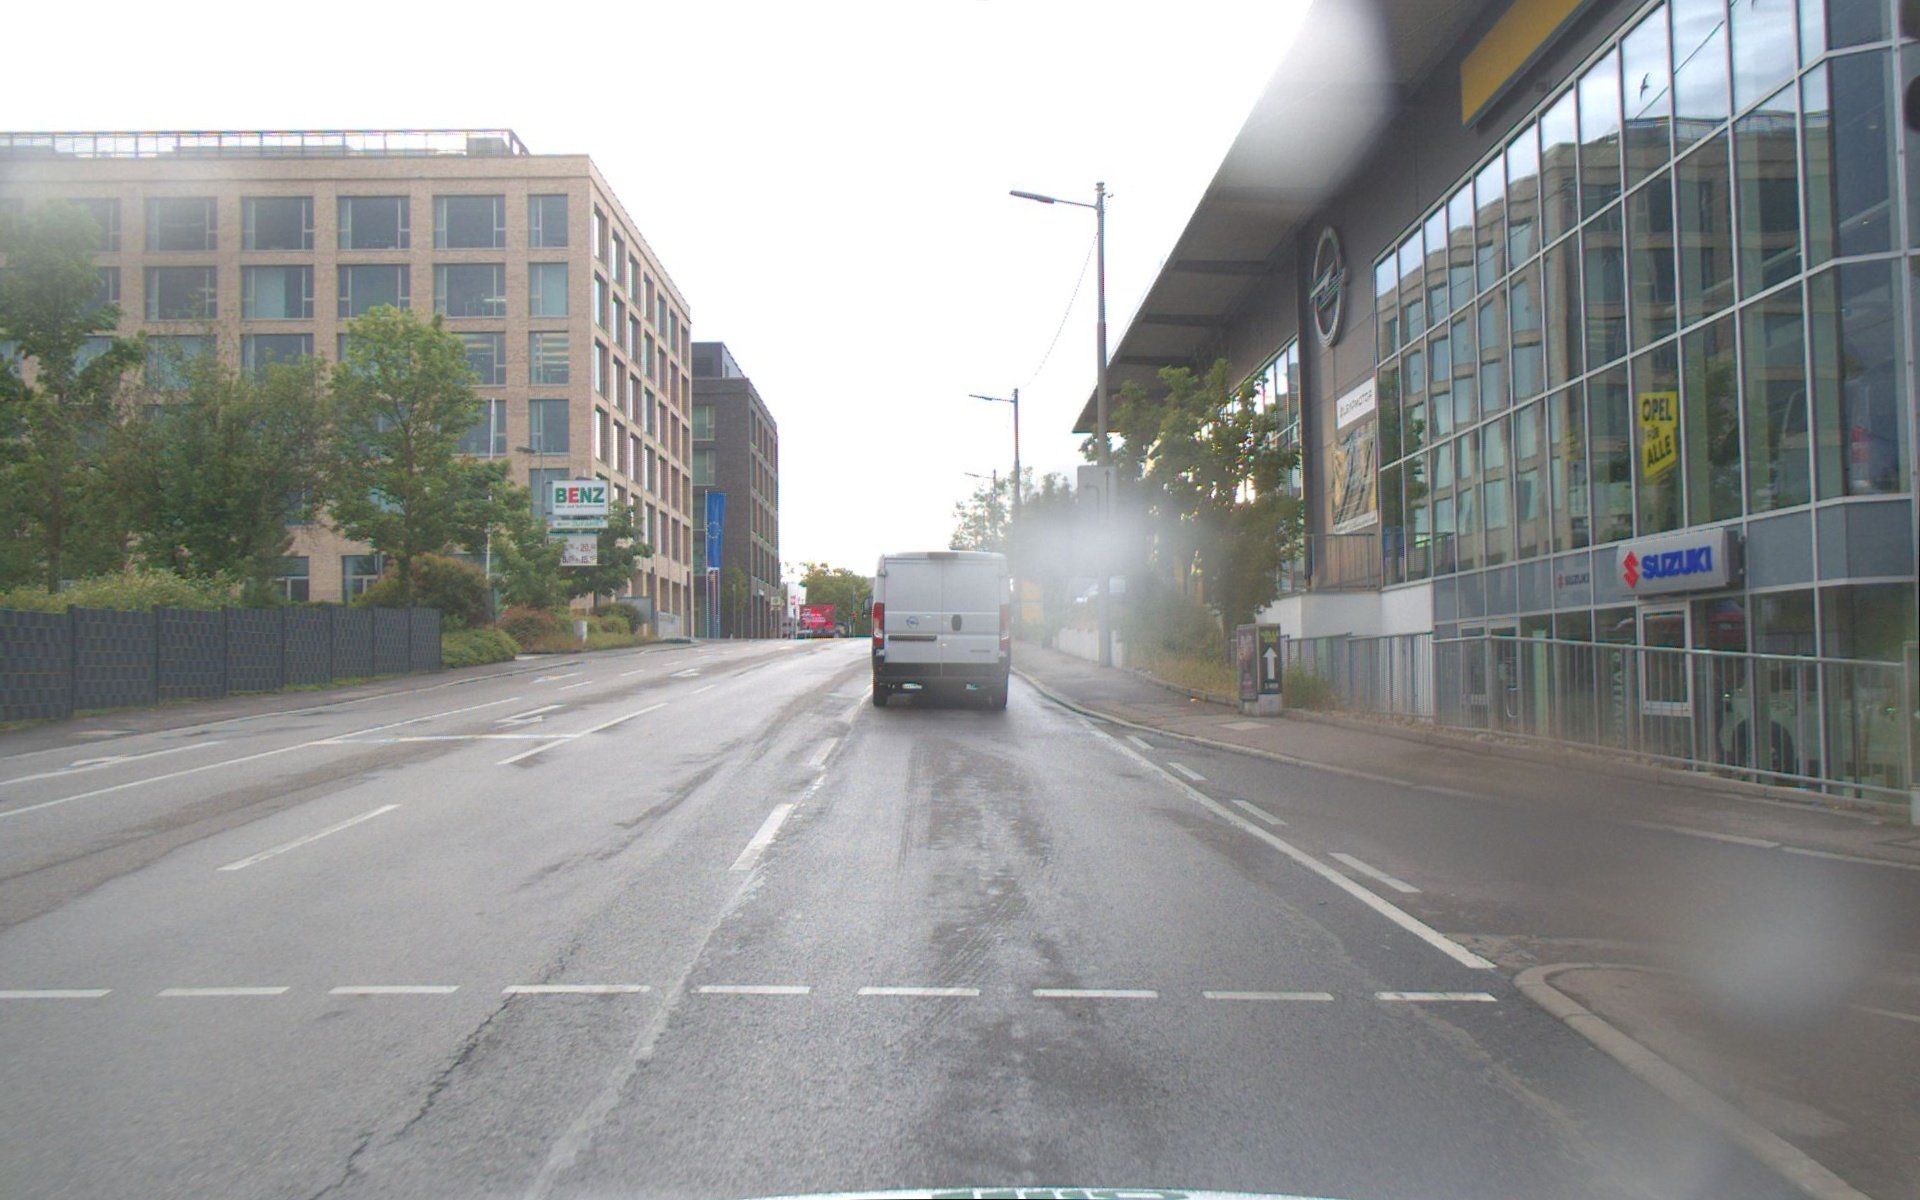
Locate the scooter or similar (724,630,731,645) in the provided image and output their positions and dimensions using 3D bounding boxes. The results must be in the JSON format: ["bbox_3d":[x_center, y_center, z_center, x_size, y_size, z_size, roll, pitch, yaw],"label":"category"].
[{"bbox_3d":[-17.224,2.777,122.615,0.343,1.090,1.428,0,-3,0],"label":"scooter or similar"}]

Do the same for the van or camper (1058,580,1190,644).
[{"bbox_3d":[7.277,0.531,73.676,5.620,2.772,2.351,0,-1,-1],"label":"van or camper"}]

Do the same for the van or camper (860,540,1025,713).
[{"bbox_3d":[-0.243,0.404,25.703,2.292,2.398,5.198,0,-1,0],"label":"van or camper"}]

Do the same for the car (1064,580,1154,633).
[{"bbox_3d":[5.431,0.264,59.630,1.953,1.741,4.577,-3,-2,22],"label":"car"}]

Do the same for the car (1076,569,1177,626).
[{"bbox_3d":[5.571,-0.030,54.848,1.954,1.741,4.425,-3,-2,25],"label":"car"}]
